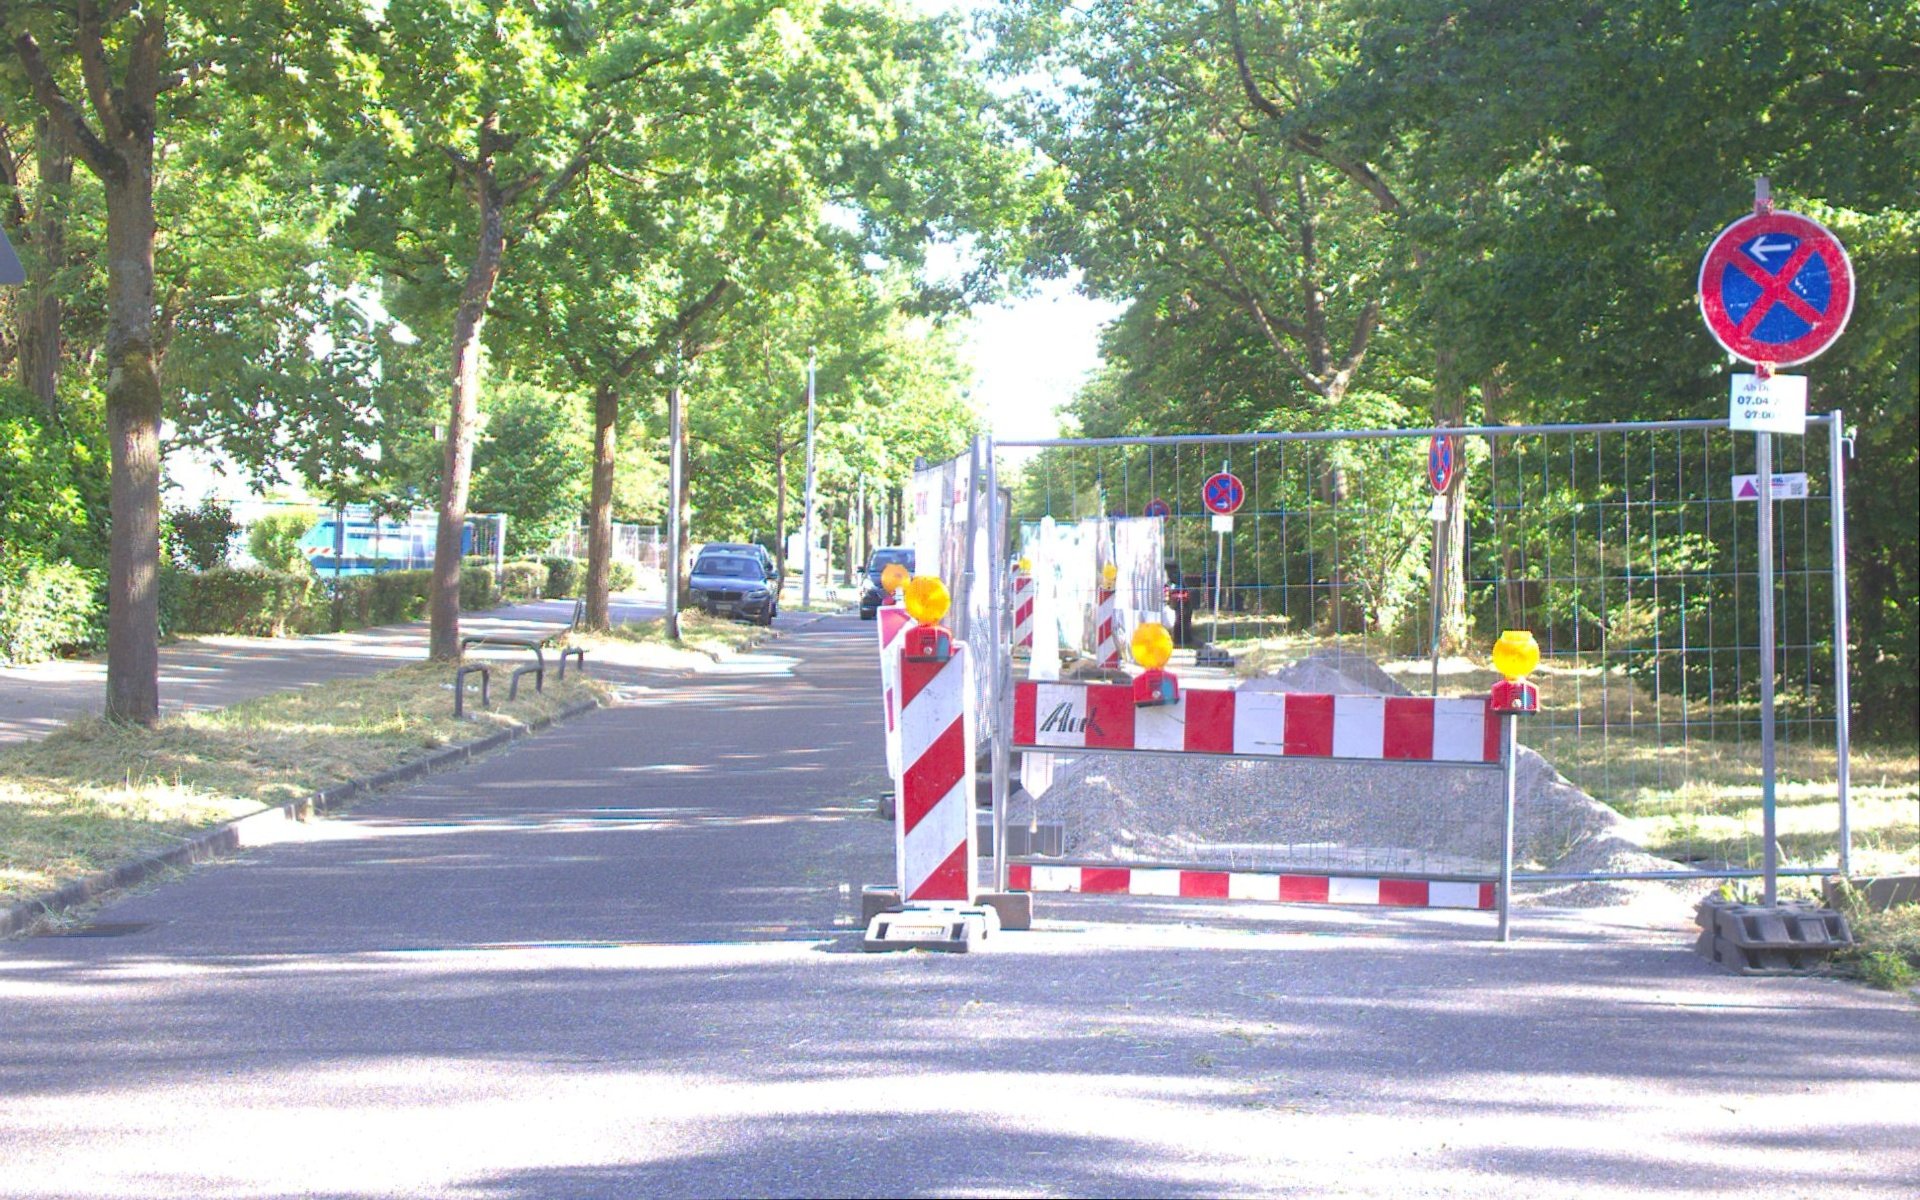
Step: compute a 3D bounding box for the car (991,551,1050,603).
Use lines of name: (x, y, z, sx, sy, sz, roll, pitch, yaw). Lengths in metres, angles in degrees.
car: (1.589, -0.602, 90.818, 1.361, 1.298, 3.481, 2, 0, -1)

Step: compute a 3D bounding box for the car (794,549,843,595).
car: (-4.247, -0.834, 103.480, 1.361, 1.298, 3.481, 2, 0, -1)

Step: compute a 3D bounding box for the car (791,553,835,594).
car: (-4.922, -0.882, 115.224, 1.361, 1.298, 3.481, 2, 0, -1)

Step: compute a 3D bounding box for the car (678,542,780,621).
car: (-4.554, -0.386, 68.198, 1.751, 1.473, 3.836, 1, 1, 0)

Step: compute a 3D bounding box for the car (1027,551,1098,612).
car: (2.303, -0.411, 77.836, 1.361, 1.298, 3.481, 2, 0, -1)
